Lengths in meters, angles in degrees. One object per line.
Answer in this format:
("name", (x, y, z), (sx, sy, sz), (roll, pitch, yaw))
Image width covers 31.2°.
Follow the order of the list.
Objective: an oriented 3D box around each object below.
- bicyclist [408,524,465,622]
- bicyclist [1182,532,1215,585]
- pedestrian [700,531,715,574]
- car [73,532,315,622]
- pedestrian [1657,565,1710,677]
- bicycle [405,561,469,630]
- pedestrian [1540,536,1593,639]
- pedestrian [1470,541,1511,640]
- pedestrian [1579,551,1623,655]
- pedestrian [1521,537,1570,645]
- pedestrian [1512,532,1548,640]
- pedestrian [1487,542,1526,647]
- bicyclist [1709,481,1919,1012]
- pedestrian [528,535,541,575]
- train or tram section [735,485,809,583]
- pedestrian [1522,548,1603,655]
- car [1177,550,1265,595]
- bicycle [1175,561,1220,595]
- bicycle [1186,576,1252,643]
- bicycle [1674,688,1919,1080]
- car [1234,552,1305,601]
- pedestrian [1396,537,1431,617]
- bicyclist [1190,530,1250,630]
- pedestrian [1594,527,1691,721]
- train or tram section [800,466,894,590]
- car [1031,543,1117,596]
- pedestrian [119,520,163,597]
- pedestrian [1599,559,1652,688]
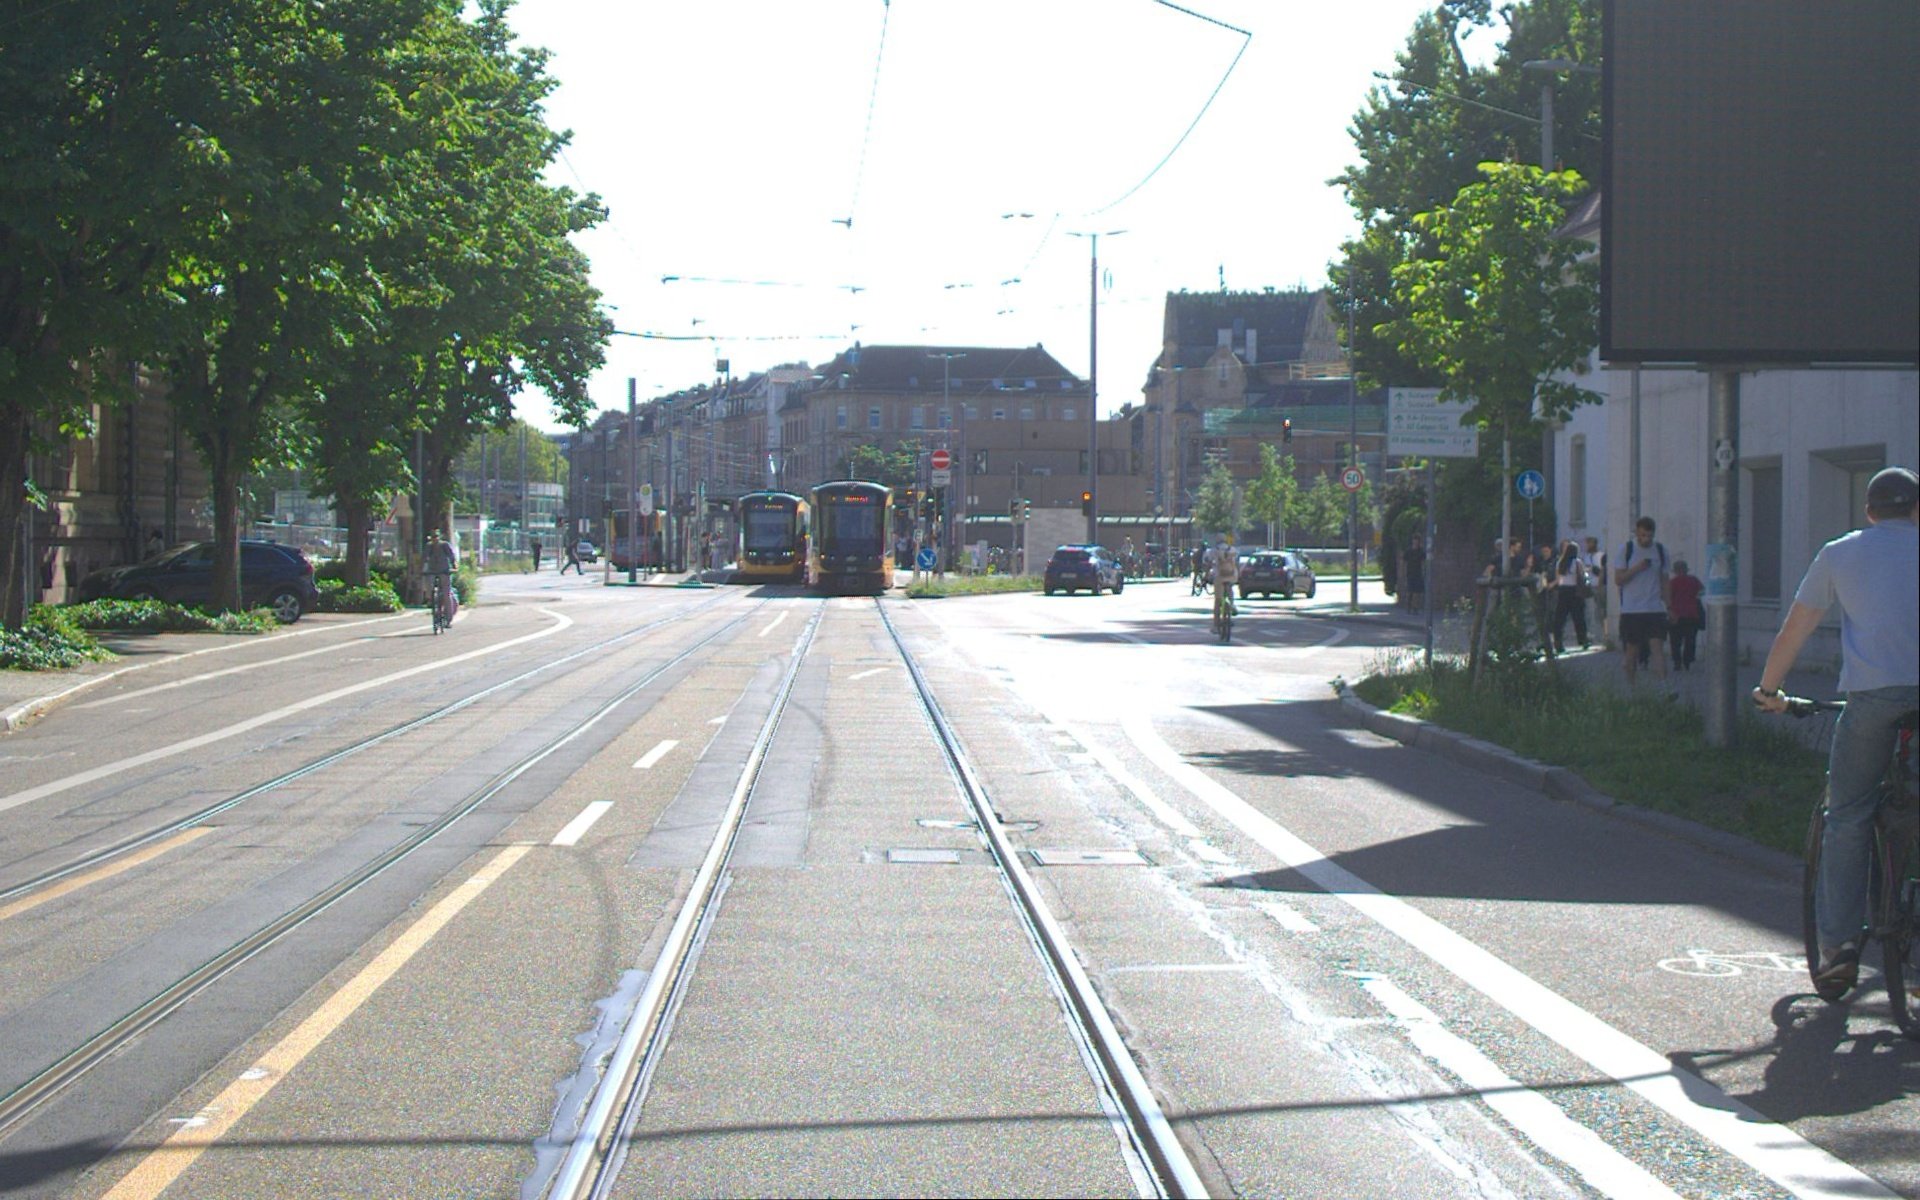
("bicyclist", (-8.873, -0.466, 58.321), (0.686, 1.639, 1.237), (-1, 1, 2))
("bicyclist", (7.811, -1.358, 112.416), (0.706, 1.694, 0.986), (4, 2, 23))
("pedestrian", (-10.851, -2.056, 147.852), (0.626, 1.821, 0.662), (1, 1, -3))
("car", (-14.226, -0.433, 63.855), (3.986, 1.545, 1.878), (1, 1, -29))
("pedestrian", (9.095, 0.258, 43.232), (0.518, 1.399, 0.764), (0, 1, 1))
("bicycle", (-8.865, -0.086, 58.345), (0.686, 1.120, 1.931), (-1, 1, 2))
("pedestrian", (10.695, -0.224, 60.646), (0.529, 1.768, 0.734), (-3, 1, 39))
("pedestrian", (9.484, -0.177, 61.474), (0.606, 1.741, 0.717), (-3, 1, 6))
("pedestrian", (11.242, 0.050, 60.246), (0.610, 1.768, 0.652), (-4, 1, 15))
("pedestrian", (9.856, -0.155, 57.869), (0.648, 1.757, 0.955), (-4, 1, 13))
("pedestrian", (10.162, -0.255, 61.265), (0.518, 1.896, 0.611), (-3, 1, 6))
("pedestrian", (9.205, -0.099, 57.923), (0.495, 1.722, 0.816), (-4, 1, 13))
("bicyclist", (3.003, 0.467, 11.455), (0.738, 1.680, 0.972), (2, 1, 0))
("pedestrian", (-21.386, -2.273, 172.789), (0.525, 2.007, 0.522), (1, 1, 3))
("train or tram section", (-7.356, -2.637, 135.961), (2.742, 3.639, 13.787), (1, 1, -3))
("pedestrian", (9.331, 0.028, 53.267), (0.859, 1.635, 0.991), (0, -1, 40))
("car", (10.046, -1.048, 132.175), (1.705, 1.638, 3.705), (3, 1, 34))
("bicycle", (7.783, -0.726, 112.454), (0.706, 1.051, 2.311), (4, 2, 23))
("bicycle", (4.469, 0.153, 59.287), (0.705, 1.101, 1.715), (3, 1, 18))
("bicycle", (2.989, 0.896, 11.474), (0.738, 1.090, 2.111), (2, 1, 0))
("car", (9.989, -0.775, 110.805), (1.790, 1.506, 3.711), (2, 1, 12))
("pedestrian", (10.880, -0.563, 82.497), (0.637, 1.897, 1.134), (-2, 1, 0))
("bicyclist", (4.486, -0.350, 59.275), (0.705, 1.669, 1.100), (3, 1, 18))
("pedestrian", (6.604, 0.224, 33.296), (0.683, 1.843, 0.955), (-1, 1, -3))
("train or tram section", (-3.677, -2.309, 109.583), (2.742, 3.639, 13.787), (1, 1, -3))
("car", (3.656, -0.973, 109.543), (1.790, 1.599, 3.709), (2, 1, 17))
("pedestrian", (-17.824, -0.899, 74.829), (0.700, 1.629, 0.759), (3, 1, -2))
("pedestrian", (8.377, 0.288, 43.268), (0.518, 1.595, 0.764), (0, 1, 1))
